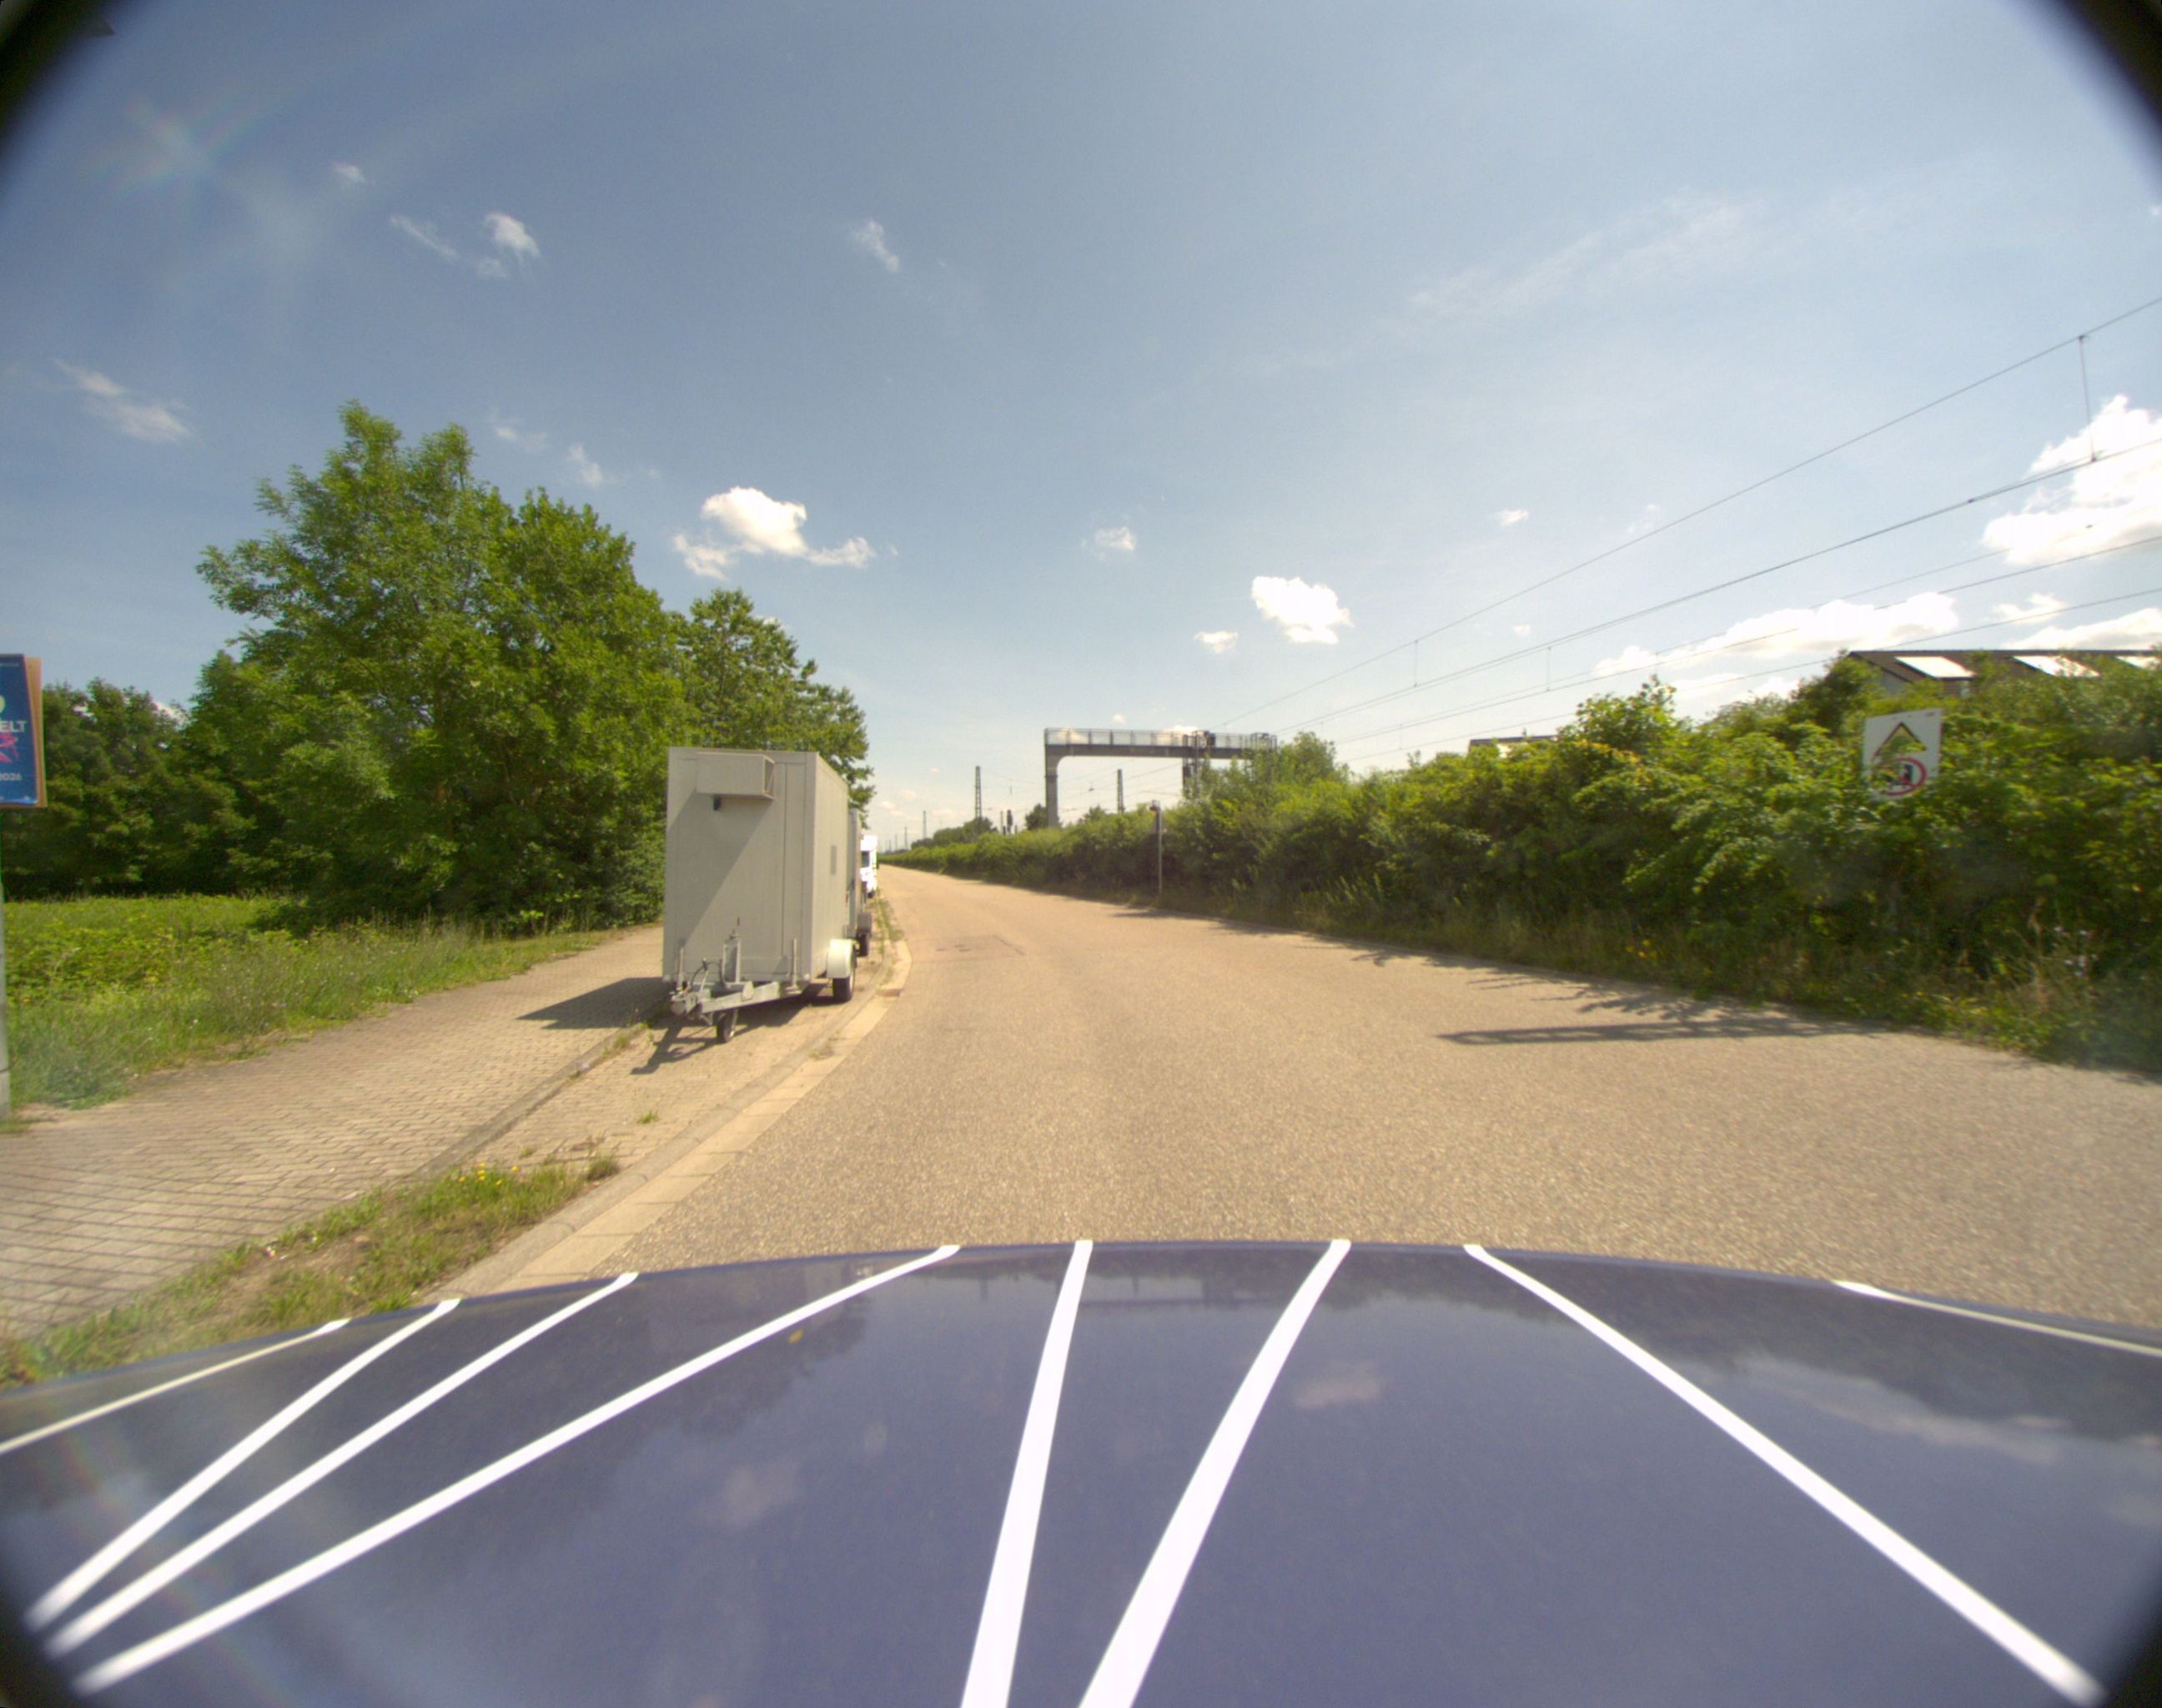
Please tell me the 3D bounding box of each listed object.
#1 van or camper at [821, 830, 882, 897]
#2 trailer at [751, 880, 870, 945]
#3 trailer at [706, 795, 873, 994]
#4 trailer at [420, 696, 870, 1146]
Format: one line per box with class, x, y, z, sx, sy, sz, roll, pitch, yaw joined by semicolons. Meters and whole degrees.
van or camper;-10.673;0.408;35.699;2.448;2.810;7.613;0;0;-15
trailer;-6.058;1.264;17.533;2.012;1.116;4.483;1;0;-12
trailer;-4.357;0.545;12.082;1.926;2.493;4.734;1;-1;-15
trailer;-3.299;0.434;7.156;1.939;2.628;5.179;1;-1;-9
